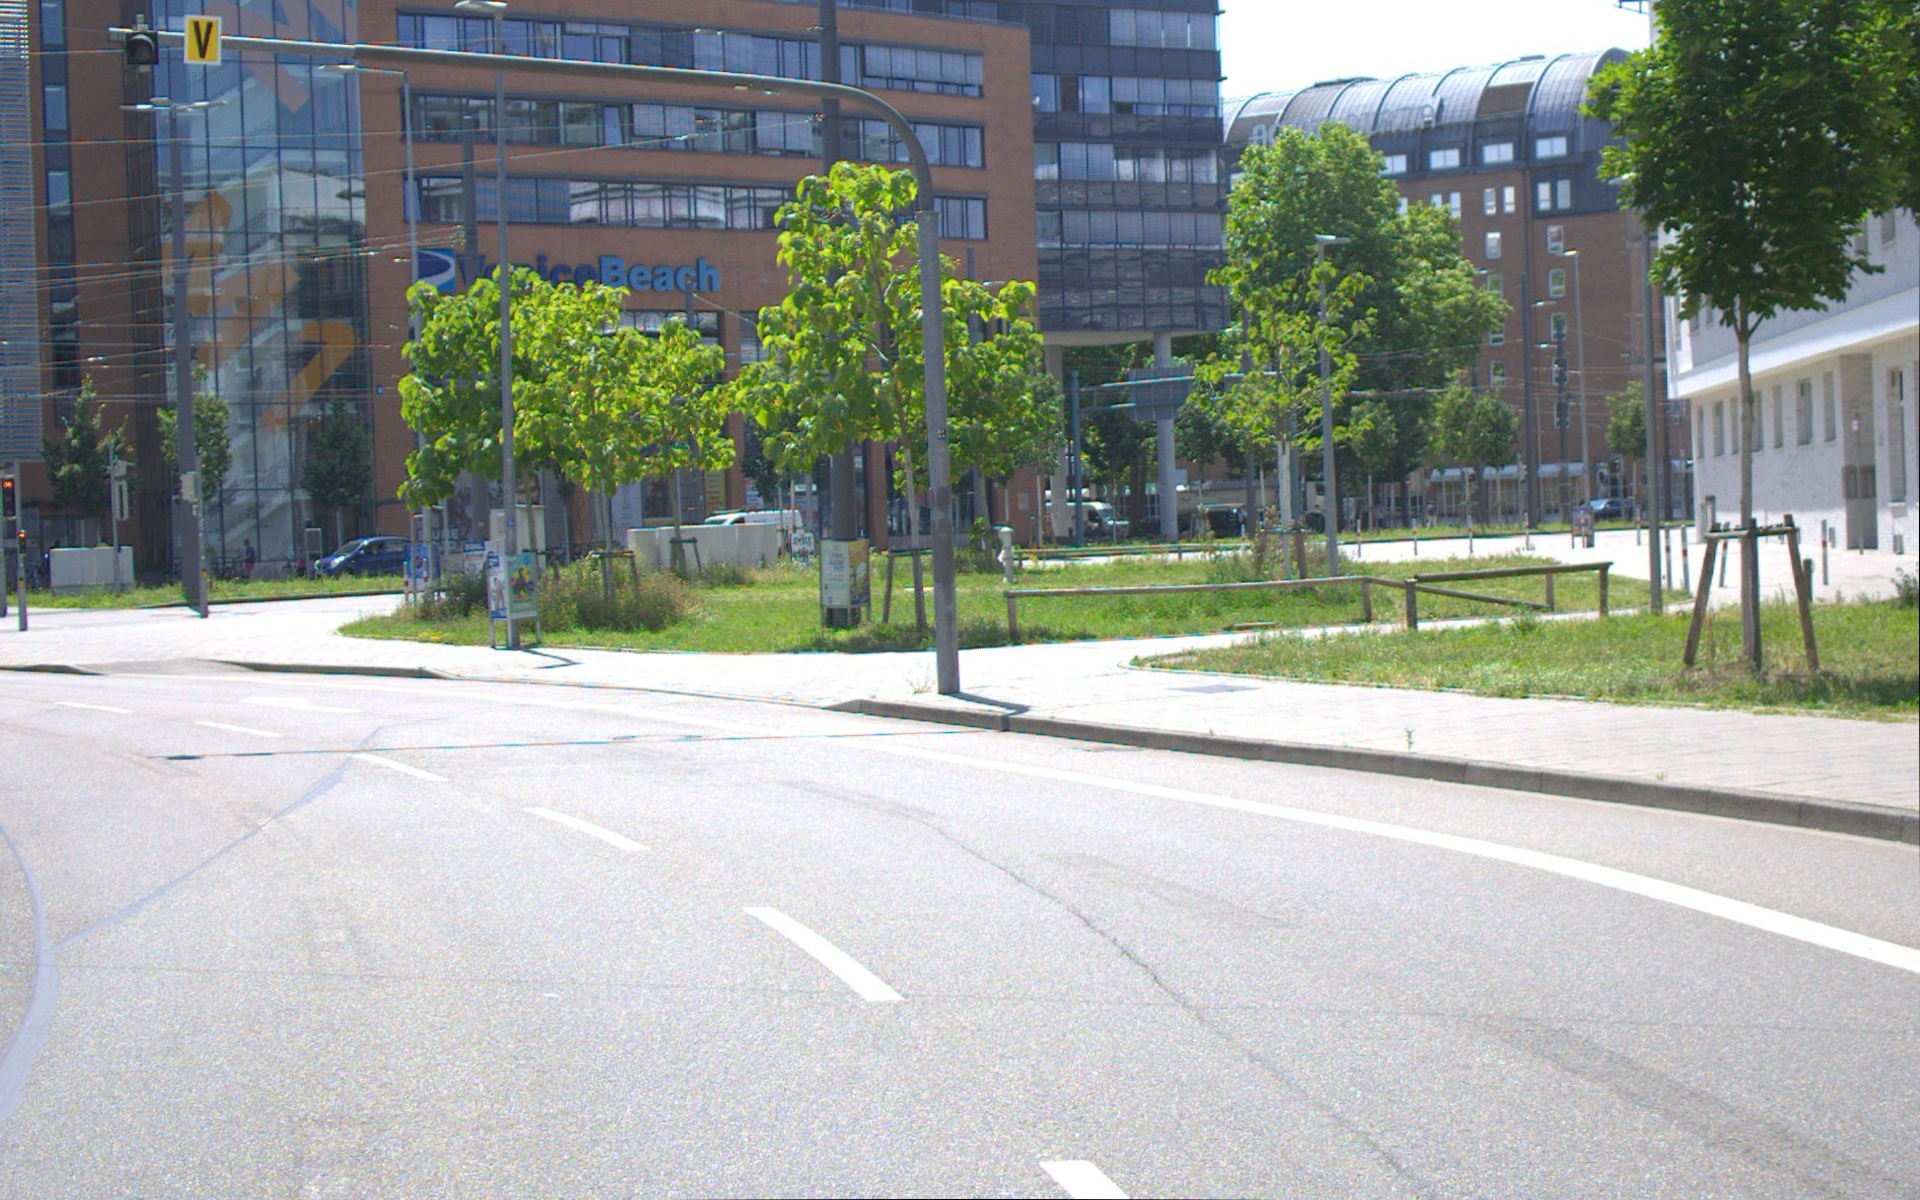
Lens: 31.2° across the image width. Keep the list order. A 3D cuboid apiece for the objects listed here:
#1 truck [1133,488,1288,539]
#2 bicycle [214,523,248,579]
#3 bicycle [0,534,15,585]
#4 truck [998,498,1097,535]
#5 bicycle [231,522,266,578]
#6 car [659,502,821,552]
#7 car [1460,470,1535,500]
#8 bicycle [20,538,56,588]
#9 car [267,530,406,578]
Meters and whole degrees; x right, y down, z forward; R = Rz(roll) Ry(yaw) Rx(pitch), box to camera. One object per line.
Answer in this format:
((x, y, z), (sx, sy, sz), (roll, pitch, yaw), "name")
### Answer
((14.330, -4.936, 197.358), (9.230, 2.799, 1.996), (0, 2, 38), "truck")
((-26.303, -1.778, 123.986), (0.485, 2.007, 2.347), (-2, 2, -30), "bicycle")
((-33.144, -1.408, 118.346), (0.598, 1.725, 2.260), (-2, 2, -31), "bicycle")
((4.921, -4.685, 193.253), (5.373, 2.007, 1.879), (0, 2, 33), "truck")
((-25.732, -1.803, 124.330), (0.485, 2.007, 2.347), (-2, 2, -30), "bicycle")
((-7.719, -2.564, 120.869), (5.464, 1.662, 2.000), (-2, 2, -37), "car")
((32.098, -6.838, 205.228), (3.995, 1.722, 1.863), (0, 2, 36), "car")
((-31.924, -1.290, 119.009), (0.598, 1.725, 2.260), (-2, 2, -31), "bicycle")
((-19.951, -1.475, 110.046), (3.987, 1.437, 1.744), (-2, 2, -33), "car")
